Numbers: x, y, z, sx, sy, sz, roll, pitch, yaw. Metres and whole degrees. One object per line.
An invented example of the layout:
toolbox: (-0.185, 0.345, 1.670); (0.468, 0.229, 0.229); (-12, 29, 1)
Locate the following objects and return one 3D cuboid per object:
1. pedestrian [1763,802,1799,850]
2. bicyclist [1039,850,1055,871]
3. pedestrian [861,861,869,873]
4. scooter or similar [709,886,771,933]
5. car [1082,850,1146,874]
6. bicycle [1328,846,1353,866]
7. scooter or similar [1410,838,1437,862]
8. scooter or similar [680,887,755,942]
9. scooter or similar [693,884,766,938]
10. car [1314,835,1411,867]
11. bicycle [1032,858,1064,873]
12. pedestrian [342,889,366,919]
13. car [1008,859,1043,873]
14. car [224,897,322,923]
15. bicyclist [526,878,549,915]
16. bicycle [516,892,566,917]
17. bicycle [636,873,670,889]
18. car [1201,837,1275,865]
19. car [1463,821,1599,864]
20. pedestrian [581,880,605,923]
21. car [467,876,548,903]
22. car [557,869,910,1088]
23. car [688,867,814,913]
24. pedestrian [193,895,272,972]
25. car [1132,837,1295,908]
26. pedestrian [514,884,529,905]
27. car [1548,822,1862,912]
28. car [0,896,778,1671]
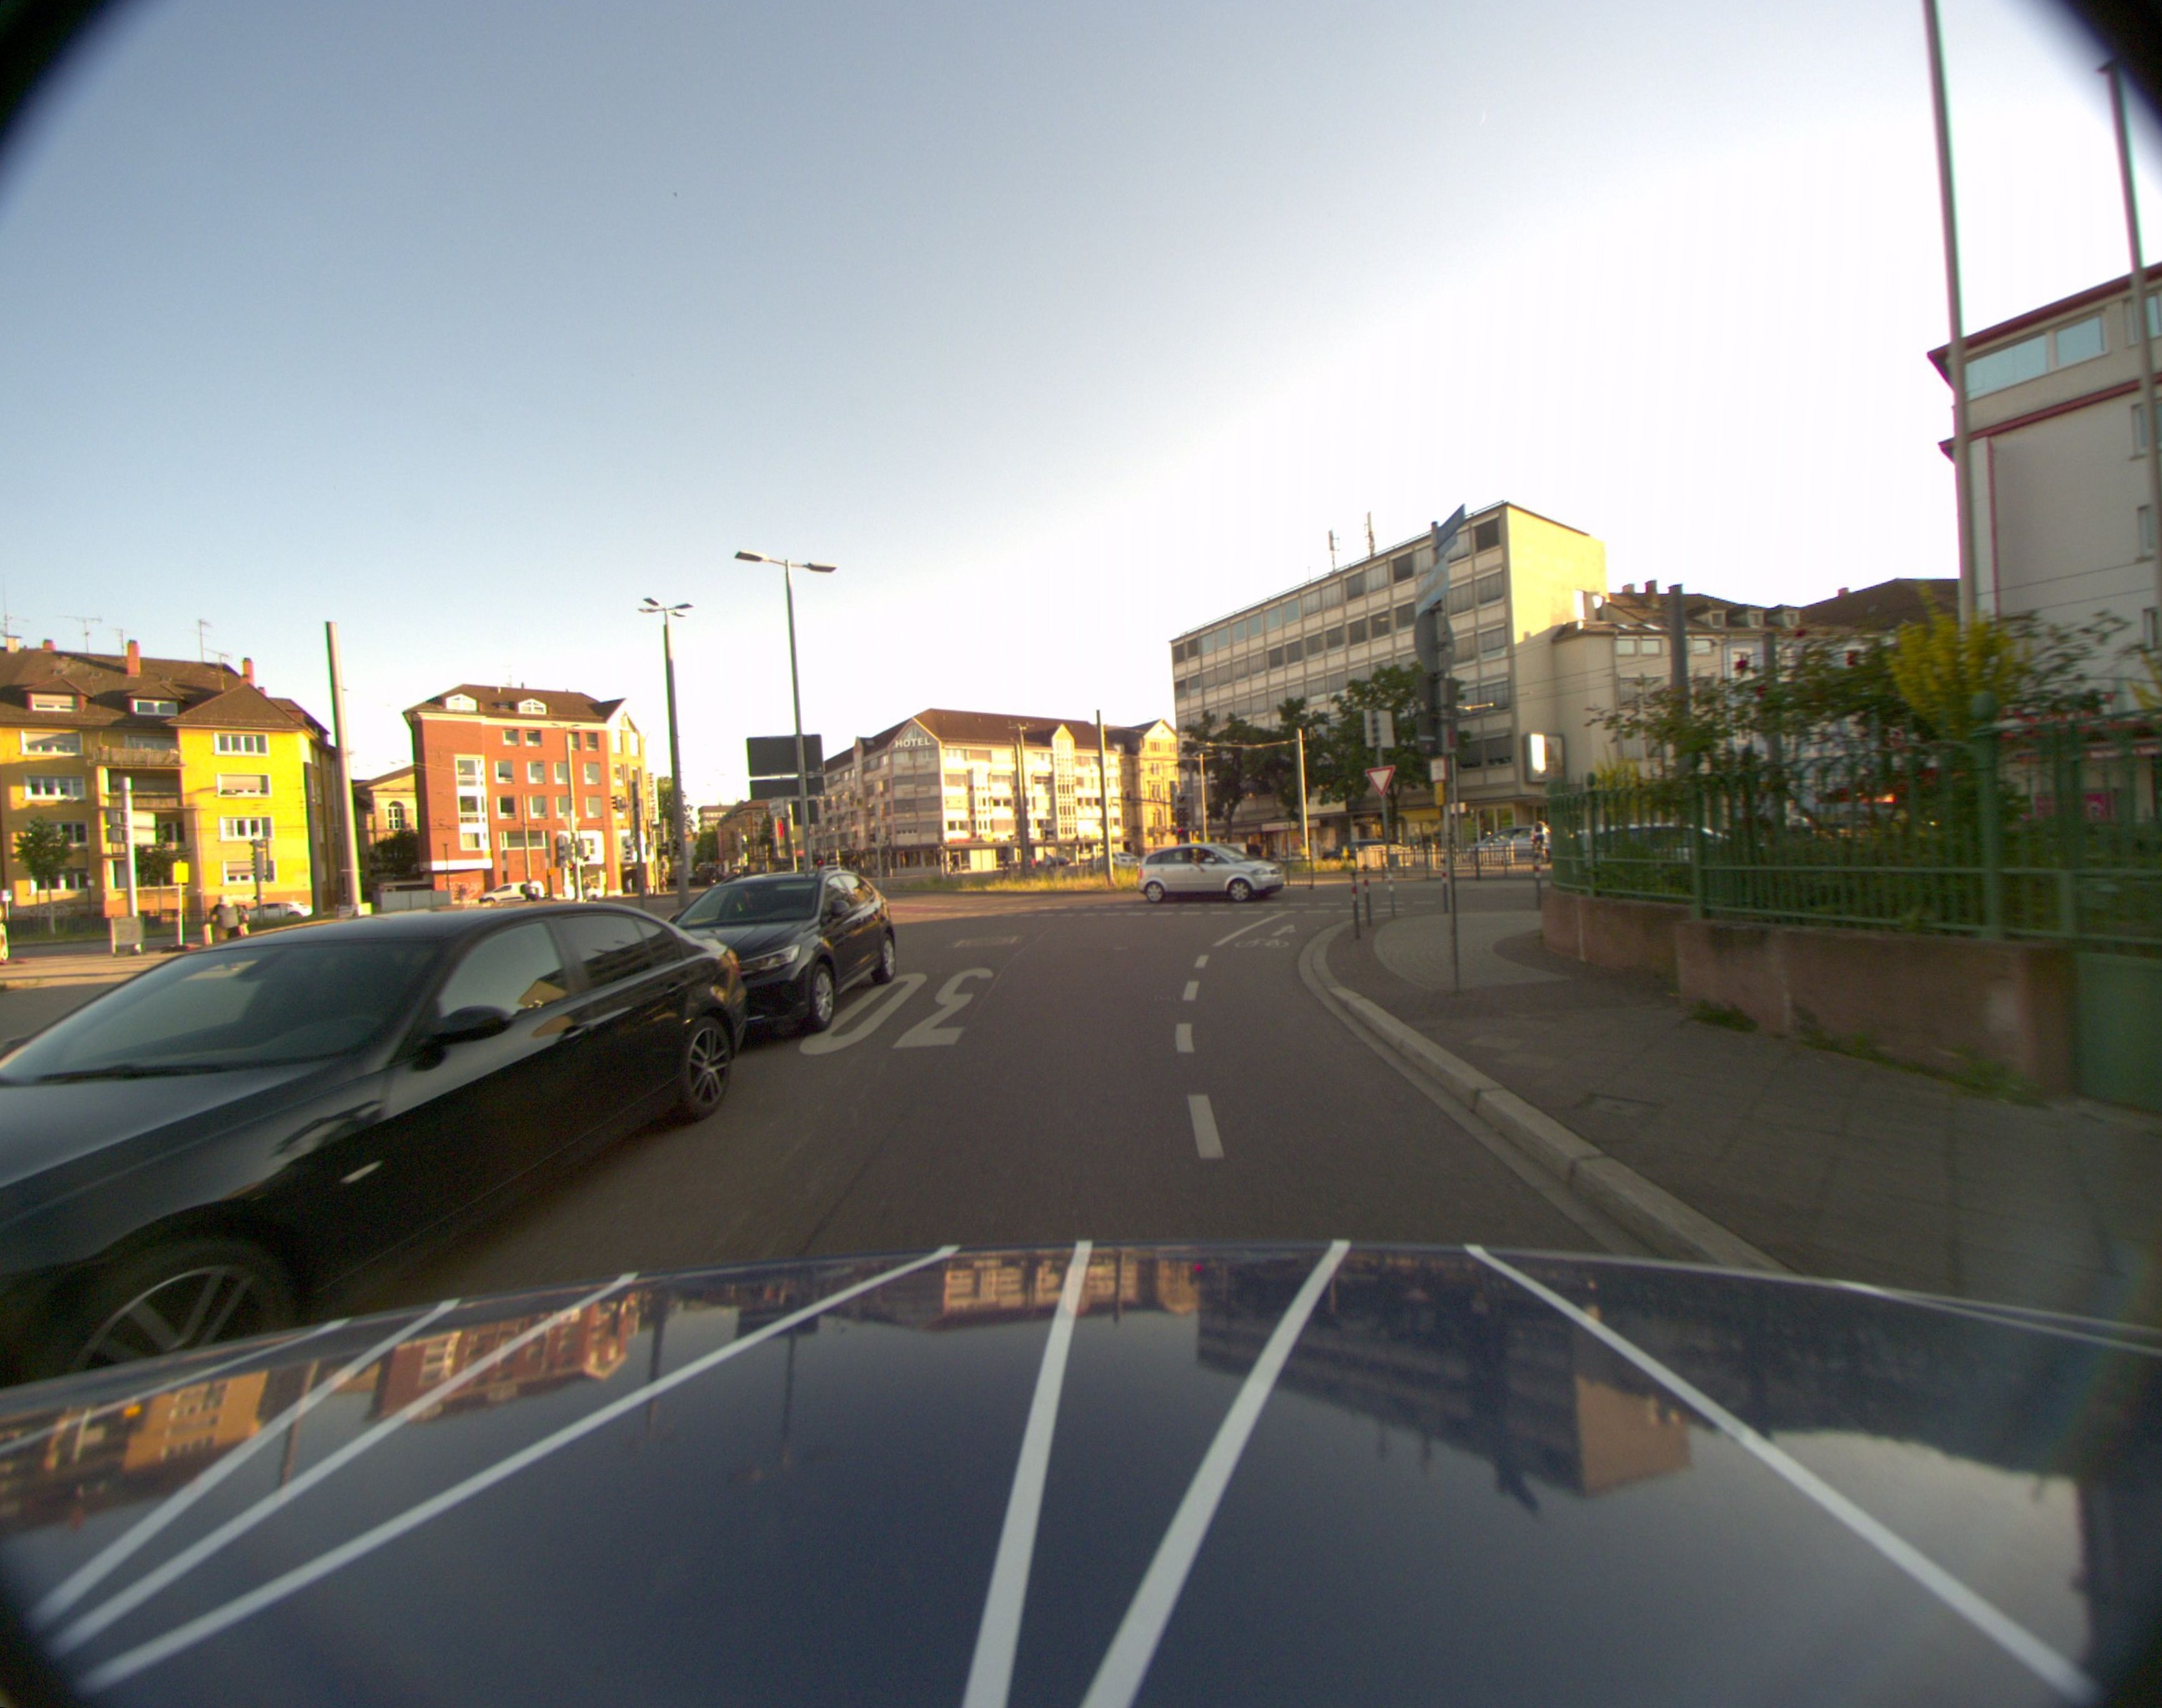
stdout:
pedestrian: (27.114, -1.077, 29.433); (0.855, 1.778, 0.810); (-4, 1, -37)
bicyclist: (-2.253, 0.457, 50.432); (0.685, 1.361, 0.714); (-4, 1, -33)
pedestrian: (-31.016, 1.875, 109.122); (0.709, 1.540, 0.904); (-4, 1, -38)
scooter or similar: (-9.074, 1.484, 20.243); (1.402, 1.159, 0.461); (-3, 1, 8)
car: (2.250, 0.493, 52.604); (2.043, 1.433, 4.649); (-5, 3, -33)
bicycle: (16.258, 0.109, 47.570); (1.749, 1.133, 0.665); (-4, 1, -41)
scooter or similar: (19.459, -0.212, 43.196); (1.280, 1.314, 0.514); (-3, 1, -3)
scooter or similar: (-9.157, 1.525, 19.170); (1.524, 1.253, 0.612); (-4, 1, 8)
scooter or similar: (-9.120, 1.478, 19.737); (1.651, 1.285, 0.461); (-3, 1, 8)
car: (14.628, -0.132, 39.691); (1.740, 1.427, 4.360); (-4, 1, -45)
bicycle: (-2.209, 0.772, 50.457); (1.957, 0.925, 0.723); (-3, 1, -32)
pedestrian: (-39.495, 2.692, 41.280); (0.637, 1.532, 0.706); (-3, 1, -20)
car: (-6.814, 1.455, 93.314); (3.903, 1.414, 1.645); (-3, 0, -39)
car: (-57.830, 3.983, 54.523); (4.571, 1.440, 1.812); (-4, 1, -41)
bicyclist: (-25.445, 1.991, 35.583); (0.749, 1.662, 0.594); (-6, 4, -36)
bicycle: (-25.337, 2.342, 35.649); (1.850, 1.017, 0.595); (-3, 0, -36)
bicycle: (-50.531, 3.209, 89.742); (3.313, 1.716, 1.067); (-3, 1, -35)
car: (9.767, -0.171, 47.533); (2.003, 1.565, 4.292); (-4, 1, -34)
car: (18.660, -0.434, 31.691); (2.208, 1.550, 4.271); (-4, 0, -30)
pedestrian: (-19.117, 1.860, 29.784); (0.691, 1.604, 0.595); (-3, 1, -29)
car: (-47.500, 2.944, 63.048); (4.880, 1.827, 1.998); (-4, 0, -21)
car: (-3.231, 1.028, 8.167); (1.783, 1.534, 4.290); (-3, 0, -1)
car: (-13.237, 1.441, 30.540); (4.383, 1.608, 1.947); (-3, 1, 19)
pedestrian: (-20.383, 1.899, 18.265); (0.942, 1.725, 0.822); (-3, 1, 11)
car: (3.441, 0.503, 19.871); (3.717, 1.552, 1.683); (-4, 2, 32)
pedestrian: (-49.209, 3.554, 66.807); (0.874, 1.768, 0.915); (-4, 2, -42)
car: (11.366, 0.193, 14.213); (4.292, 1.398, 1.920); (0, 3, 38)
car: (-3.206, 1.089, 3.442); (1.733, 1.421, 4.473); (-4, 0, 1)
